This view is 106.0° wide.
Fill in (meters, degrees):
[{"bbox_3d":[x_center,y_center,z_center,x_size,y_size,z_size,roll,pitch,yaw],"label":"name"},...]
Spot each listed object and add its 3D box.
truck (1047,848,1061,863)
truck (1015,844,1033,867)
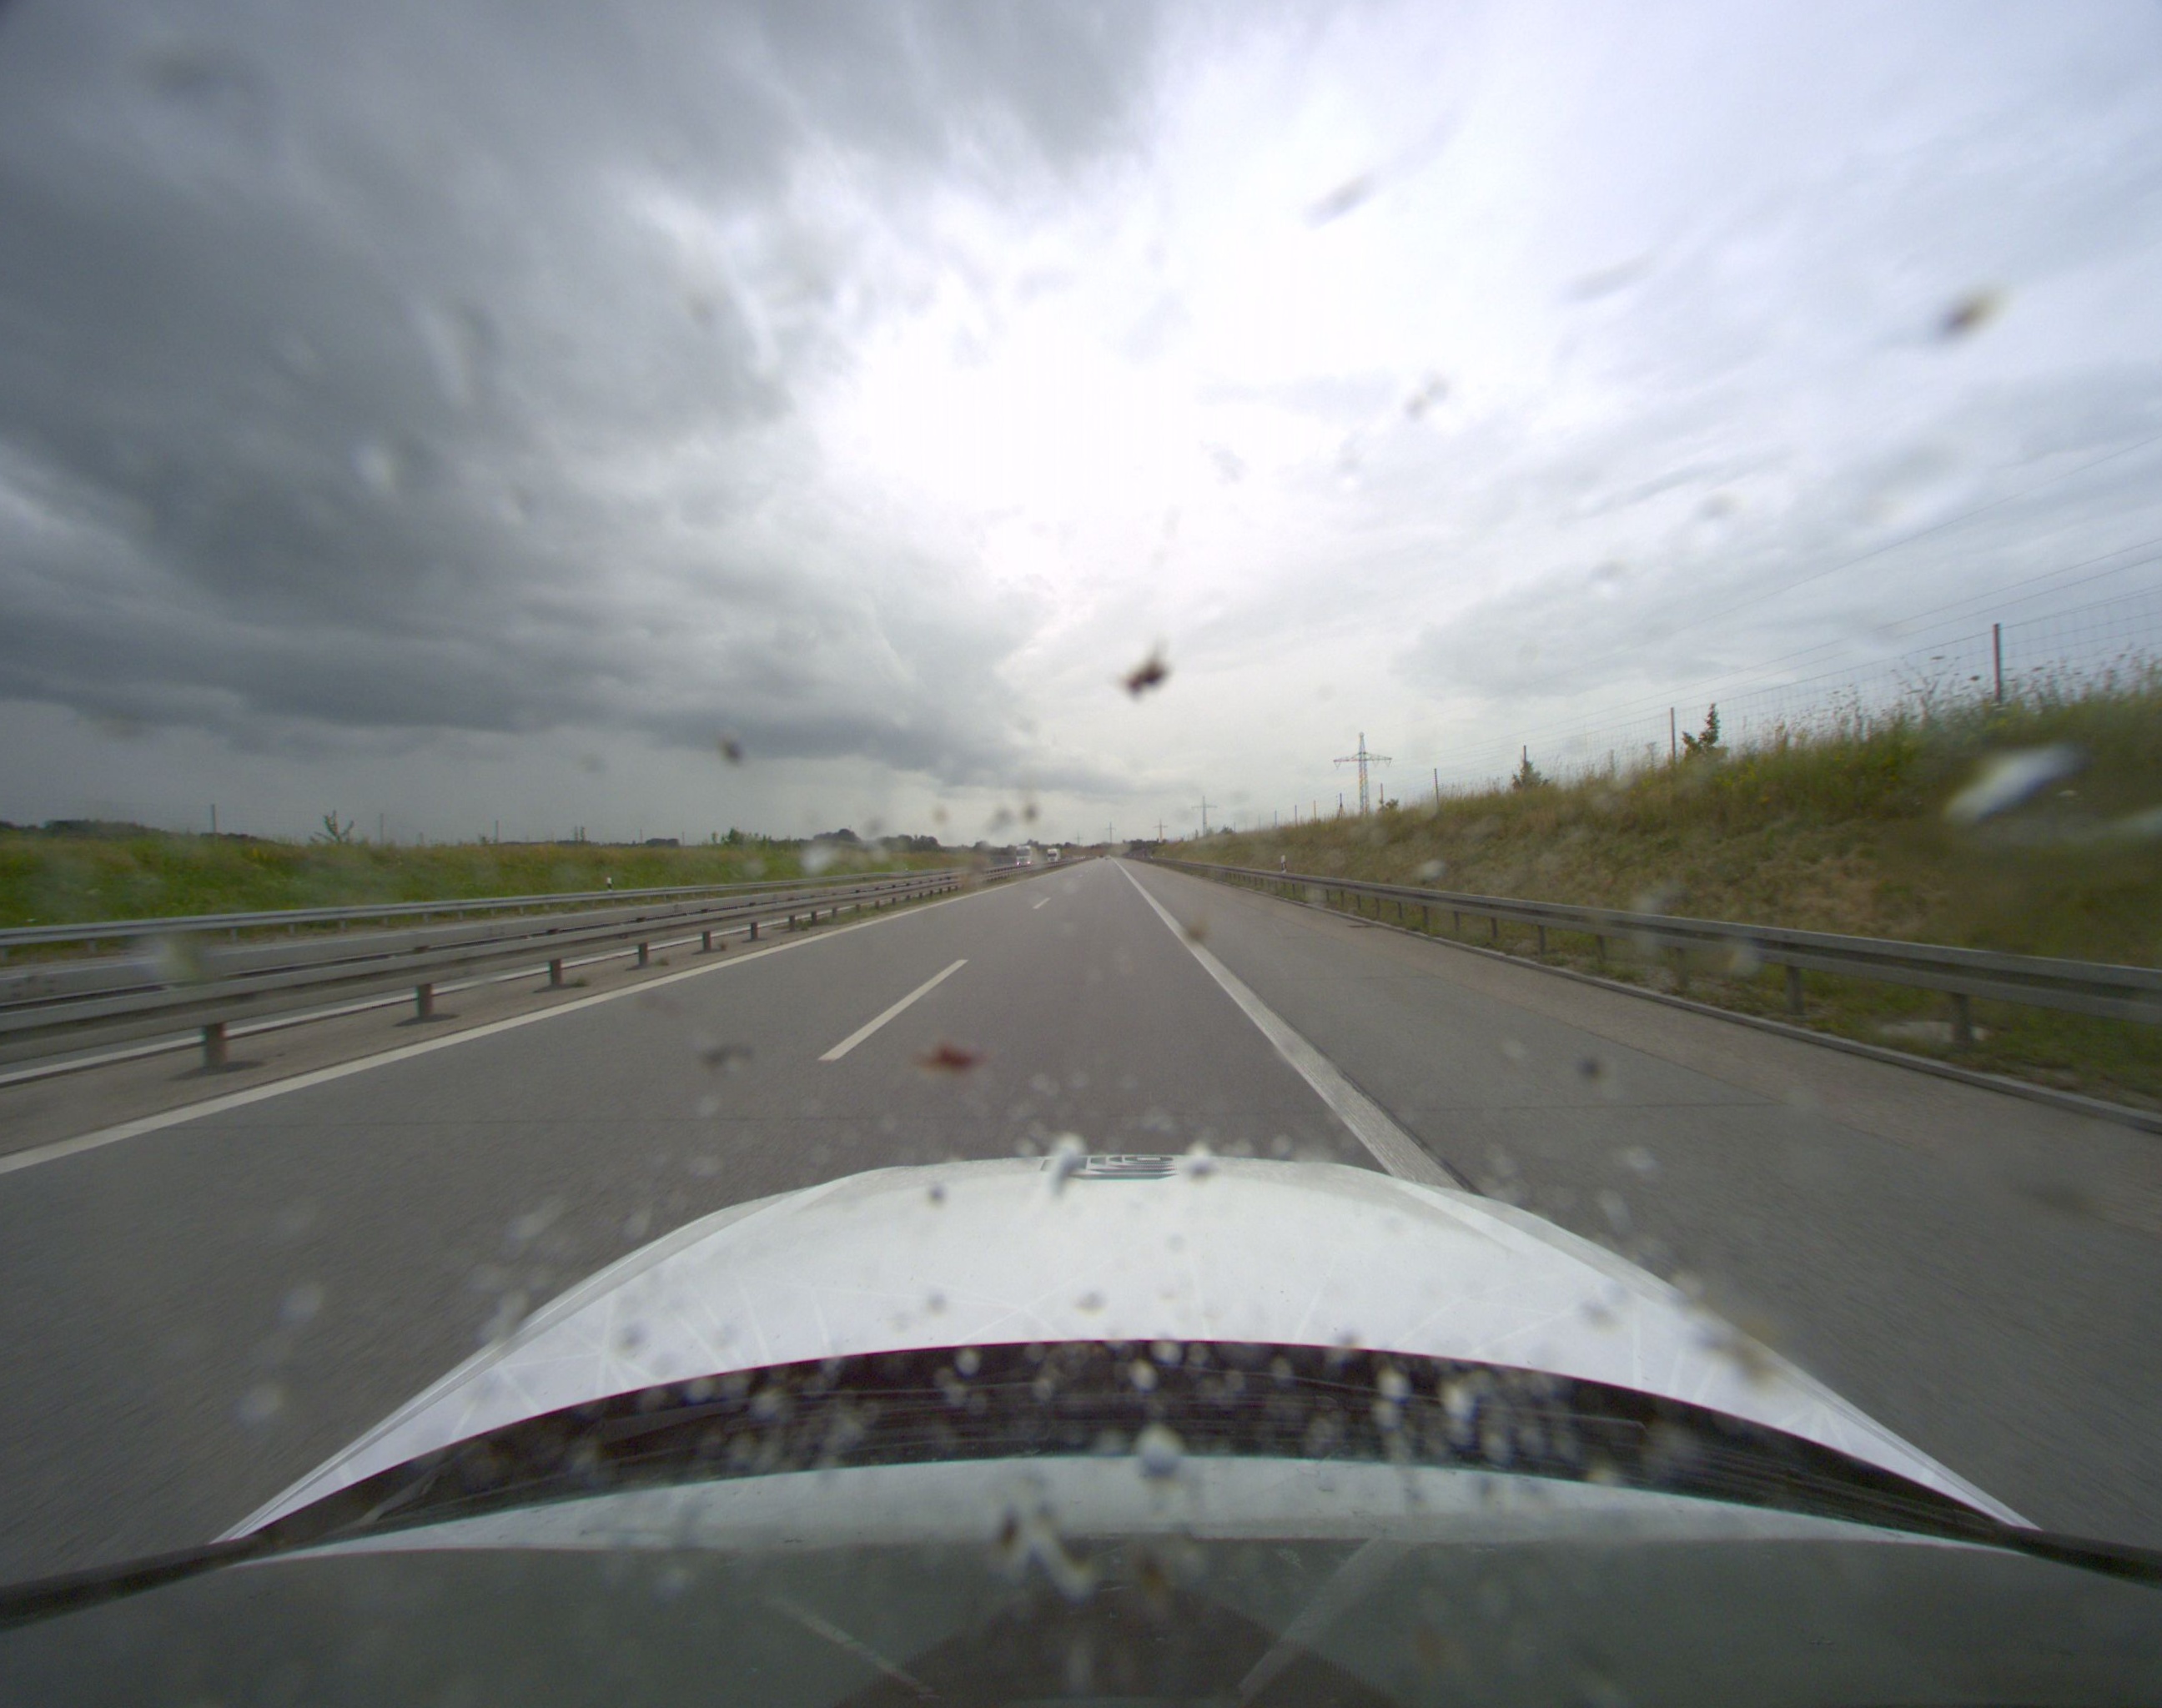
[{"bbox_3d":[-7.098,0.406,213.840,2.941,3.925,5.520,-3,0,2],"label":"truck"},{"bbox_3d":[-10.103,0.297,145.236,2.584,3.925,5.586,-3,0,0],"label":"truck"}]
